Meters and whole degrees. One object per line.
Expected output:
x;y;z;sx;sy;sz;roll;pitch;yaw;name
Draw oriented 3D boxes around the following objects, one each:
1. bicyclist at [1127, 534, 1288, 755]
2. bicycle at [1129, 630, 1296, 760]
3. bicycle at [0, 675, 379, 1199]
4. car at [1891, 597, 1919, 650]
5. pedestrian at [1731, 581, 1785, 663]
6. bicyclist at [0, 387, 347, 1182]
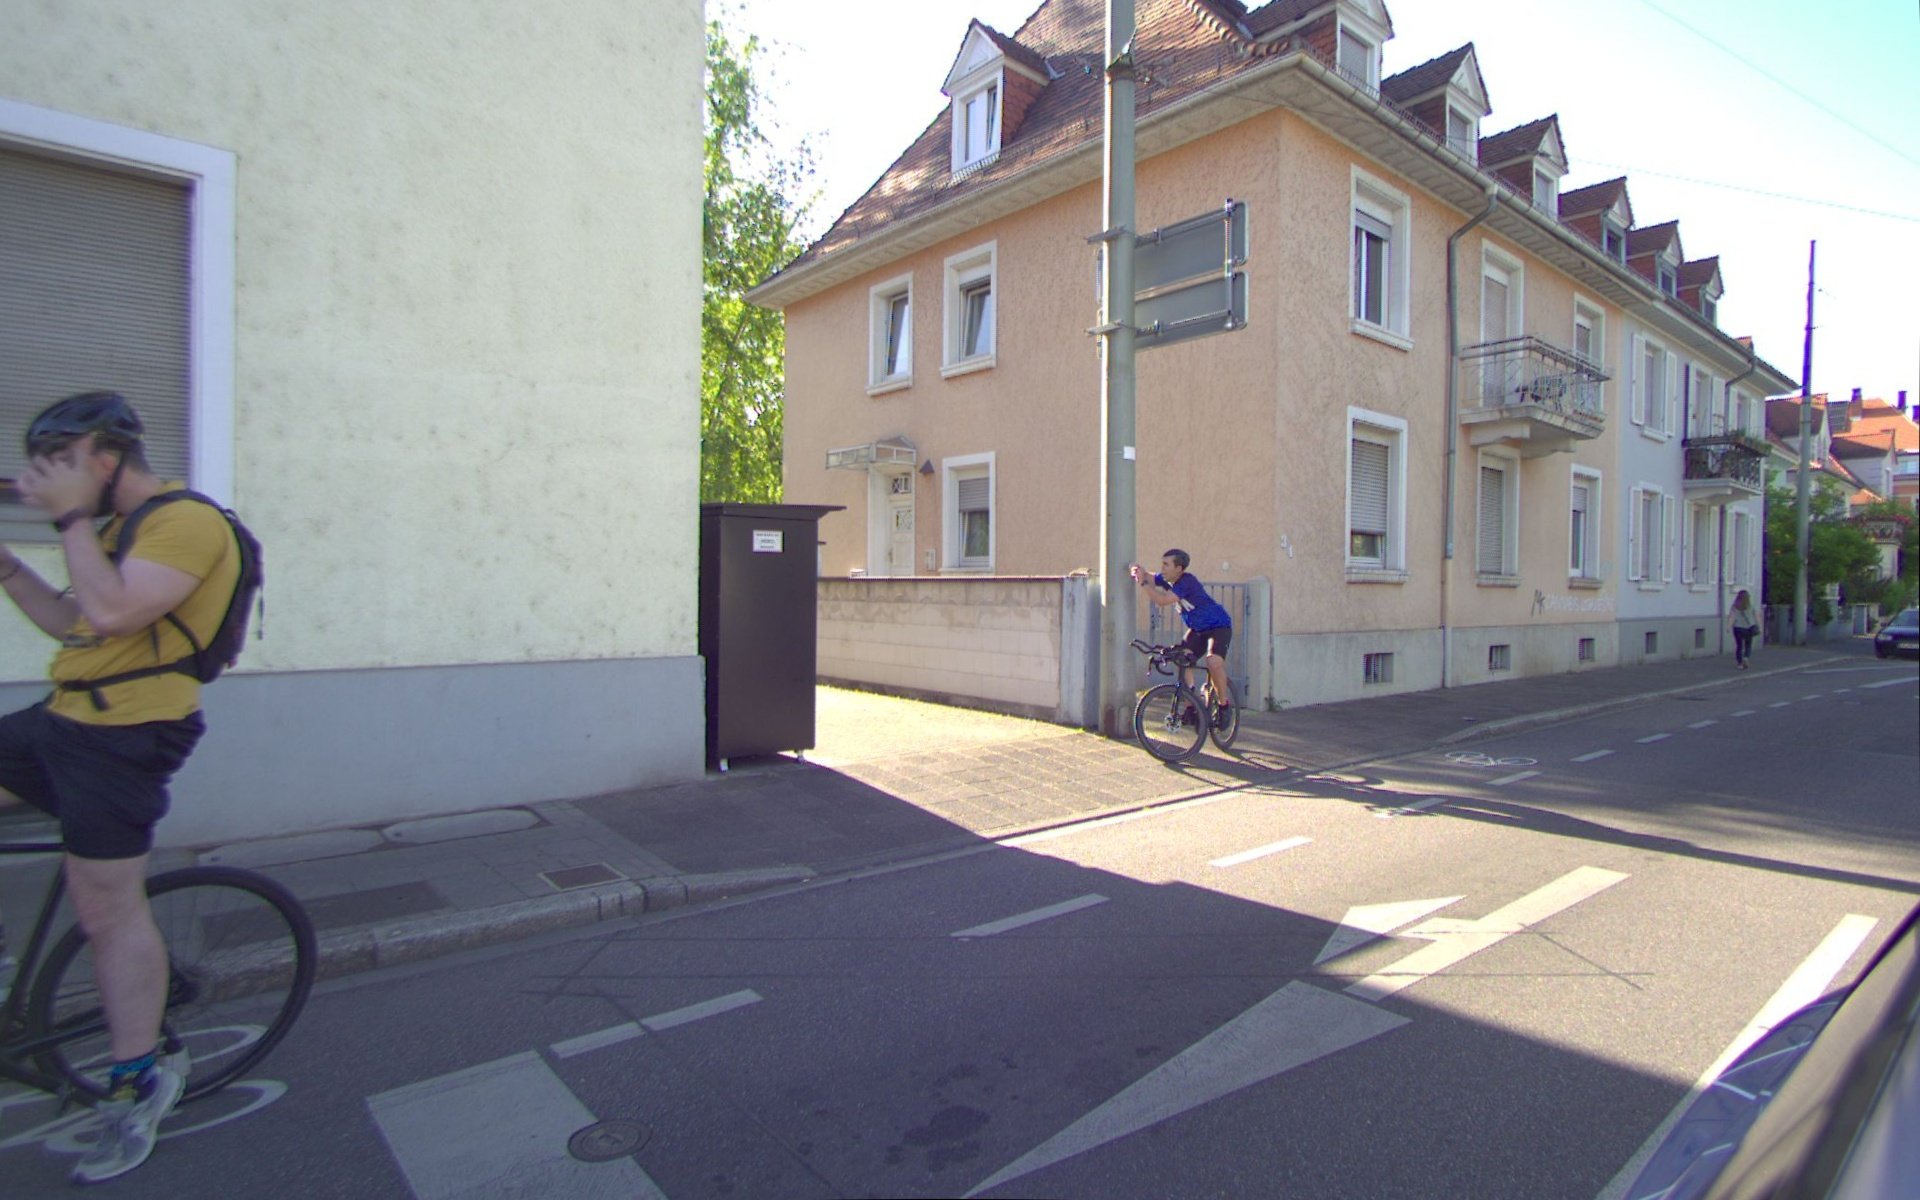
2.294;0.361;9.441;0.831;1.887;1.076;0;4;-40;bicyclist
2.327;0.818;9.215;1.669;1.003;0.572;0;4;-41;bicycle
-2.467;0.845;2.542;1.669;1.180;0.572;0;1;-41;bicycle
26.710;0.626;27.347;3.796;1.382;1.648;0;1;-38;car
16.733;0.444;21.217;1.079;1.682;0.694;0;0;-41;pedestrian
-2.291;0.422;2.707;1.018;1.840;0.653;0;1;-41;bicyclist
